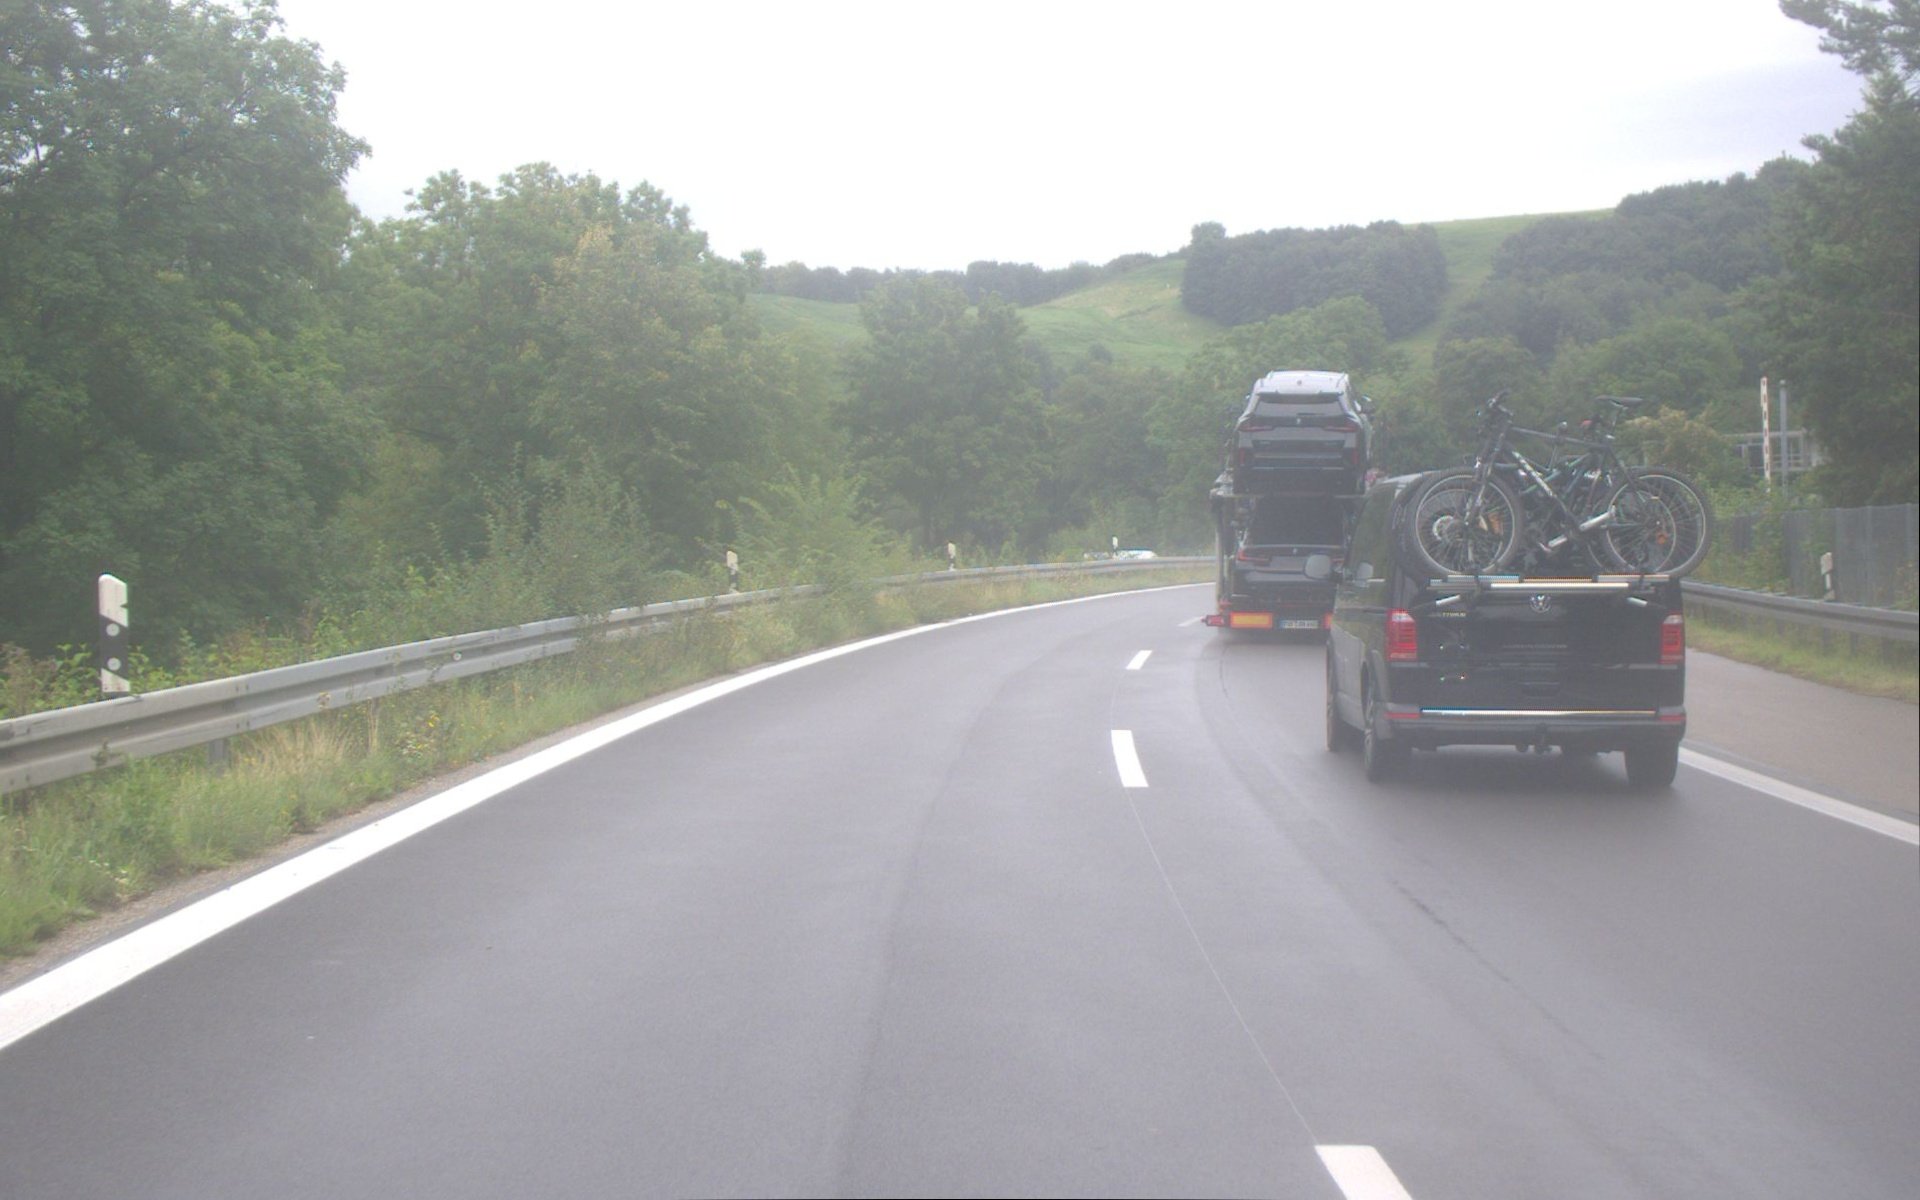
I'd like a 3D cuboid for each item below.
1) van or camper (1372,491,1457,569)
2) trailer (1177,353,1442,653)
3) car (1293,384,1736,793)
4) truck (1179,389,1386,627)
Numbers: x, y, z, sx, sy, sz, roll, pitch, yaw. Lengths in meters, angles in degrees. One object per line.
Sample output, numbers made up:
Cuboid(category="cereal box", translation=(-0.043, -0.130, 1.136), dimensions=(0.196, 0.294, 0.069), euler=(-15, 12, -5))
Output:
Cuboid(category="van or camper", translation=(13.512, -2.070, 102.016), dimensions=(2.093, 2.224, 4.428), euler=(1, 1, 12))
Cuboid(category="trailer", translation=(5.098, -1.439, 52.465), dimensions=(3.449, 3.986, 12.026), euler=(1, 1, 4))
Cuboid(category="car", translation=(3.402, -0.141, 22.295), dimensions=(2.110, 2.257, 5.896), euler=(1, 1, 2))
Cuboid(category="truck", translation=(5.833, -1.679, 63.880), dimensions=(3.395, 3.986, 10.846), euler=(1, 1, 4))
